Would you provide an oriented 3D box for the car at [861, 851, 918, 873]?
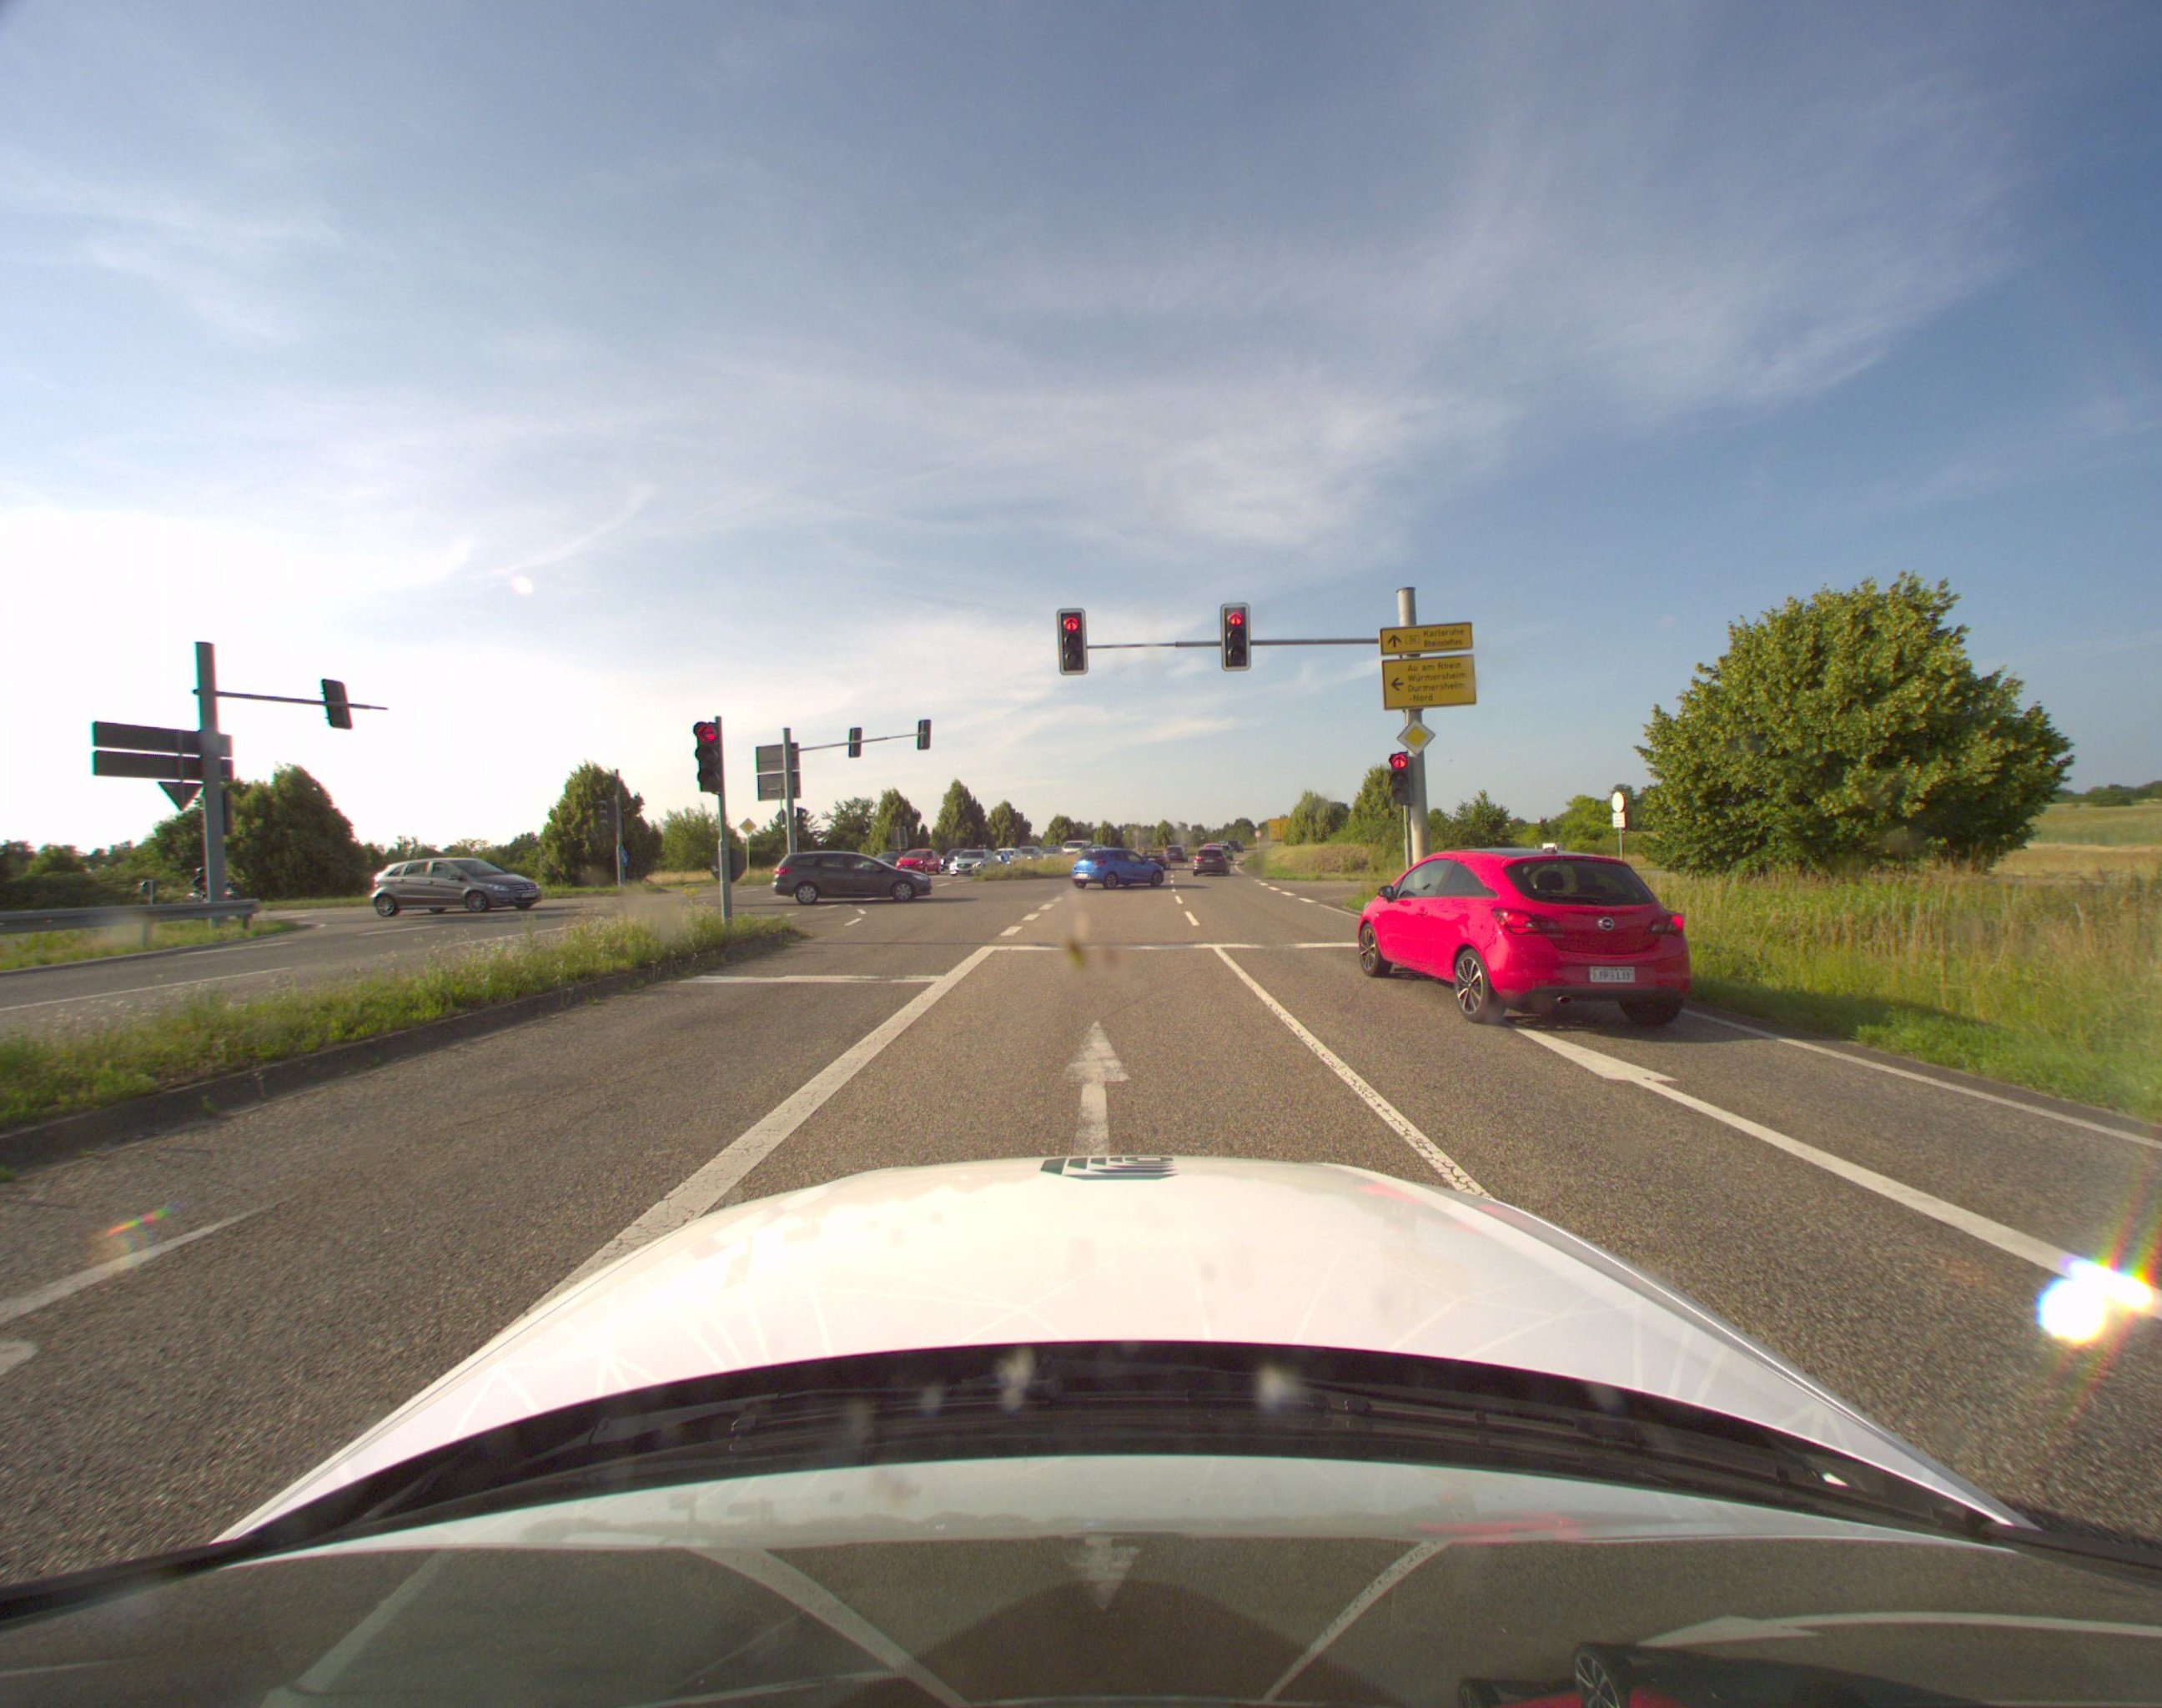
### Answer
[{"bbox_3d":[-12.420,0.524,53.198,1.425,1.292,4.694,-2,0,17],"label":"car"}]

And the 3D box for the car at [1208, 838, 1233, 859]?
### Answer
[{"bbox_3d":[12.750,-0.443,74.447,1.900,1.800,4.283,-1,-1,5],"label":"car"}]

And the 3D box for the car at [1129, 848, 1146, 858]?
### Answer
[{"bbox_3d":[8.798,-0.129,126.187,1.772,1.385,4.069,-2,0,17],"label":"car"}]

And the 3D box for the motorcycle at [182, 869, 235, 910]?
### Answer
[{"bbox_3d":[-25.761,1.016,24.035,2.143,1.124,0.946,0,0,40],"label":"motorcycle"}]

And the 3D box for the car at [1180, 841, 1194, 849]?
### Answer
[{"bbox_3d":[18.733,-1.570,143.799,1.772,1.385,4.069,-2,0,17],"label":"car"}]

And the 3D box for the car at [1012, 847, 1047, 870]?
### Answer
[{"bbox_3d":[-3.715,0.289,59.259,1.776,1.568,4.060,-2,0,8],"label":"car"}]

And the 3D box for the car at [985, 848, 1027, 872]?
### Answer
[{"bbox_3d":[-4.818,0.375,53.122,1.776,1.433,4.318,-2,0,8],"label":"car"}]

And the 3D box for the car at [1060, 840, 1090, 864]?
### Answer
[{"bbox_3d":[-0.505,-0.182,74.768,1.913,2.078,4.256,-2,0,11],"label":"car"}]

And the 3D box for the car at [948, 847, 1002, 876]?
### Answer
[{"bbox_3d":[-5.850,0.402,45.424,1.776,1.488,4.661,-2,0,8],"label":"car"}]

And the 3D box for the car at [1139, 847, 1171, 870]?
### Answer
[{"bbox_3d":[4.630,0.307,51.230,1.900,1.323,4.282,-1,-1,4],"label":"car"}]

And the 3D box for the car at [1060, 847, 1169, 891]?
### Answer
[{"bbox_3d":[1.292,0.521,30.238,4.008,1.492,1.757,-2,0,-44],"label":"car"}]

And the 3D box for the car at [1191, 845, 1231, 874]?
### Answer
[{"bbox_3d":[6.638,0.289,41.733,1.904,1.416,3.804,-1,-1,8],"label":"car"}]

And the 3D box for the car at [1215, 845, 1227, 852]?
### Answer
[{"bbox_3d":[28.195,-1.139,164.194,1.772,1.385,4.069,-2,0,17],"label":"car"}]

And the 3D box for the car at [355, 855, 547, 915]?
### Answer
[{"bbox_3d":[-17.946,0.869,23.325,4.165,1.605,1.791,-1,-1,2],"label":"car"}]

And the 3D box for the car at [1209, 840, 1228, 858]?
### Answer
[{"bbox_3d":[15.763,-0.577,93.523,1.899,1.916,4.284,-1,-1,5],"label":"car"}]

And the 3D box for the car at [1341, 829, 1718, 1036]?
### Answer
[{"bbox_3d":[4.086,0.599,8.196,1.691,1.549,3.749,-2,0,0],"label":"car"}]

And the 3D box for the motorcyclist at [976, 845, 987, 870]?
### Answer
[{"bbox_3d":[-7.256,0.266,59.305,0.660,1.747,0.605,-2,0,0],"label":"motorcyclist"}]

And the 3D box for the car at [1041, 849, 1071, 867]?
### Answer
[{"bbox_3d":[-1.981,0.299,65.404,1.776,1.385,4.060,-2,0,8],"label":"car"}]

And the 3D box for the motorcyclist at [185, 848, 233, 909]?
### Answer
[{"bbox_3d":[-25.811,0.704,24.114,0.821,1.758,0.912,-1,0,40],"label":"motorcyclist"}]

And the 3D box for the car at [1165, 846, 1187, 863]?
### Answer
[{"bbox_3d":[8.202,0.077,70.644,1.827,1.377,4.285,-1,-1,6],"label":"car"}]

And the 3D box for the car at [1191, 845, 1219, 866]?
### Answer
[{"bbox_3d":[9.491,0.131,62.823,1.886,1.565,4.284,-1,-1,5],"label":"car"}]

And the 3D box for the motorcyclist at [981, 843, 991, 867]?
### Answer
[{"bbox_3d":[-7.260,0.048,62.293,0.660,1.817,0.605,-2,0,0],"label":"motorcyclist"}]

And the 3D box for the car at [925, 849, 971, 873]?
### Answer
[{"bbox_3d":[-8.603,0.448,52.836,1.776,1.433,4.060,-2,0,8],"label":"car"}]

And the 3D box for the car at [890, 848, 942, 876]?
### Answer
[{"bbox_3d":[-9.512,0.415,47.254,1.710,1.488,3.814,-2,0,9],"label":"car"}]

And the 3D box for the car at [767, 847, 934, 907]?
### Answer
[{"bbox_3d":[-6.706,0.629,23.912,4.526,1.565,1.805,-1,0,-17],"label":"car"}]

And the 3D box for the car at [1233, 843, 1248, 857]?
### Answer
[{"bbox_3d":[22.070,-0.560,112.645,1.897,1.734,4.288,-1,-1,9],"label":"car"}]
